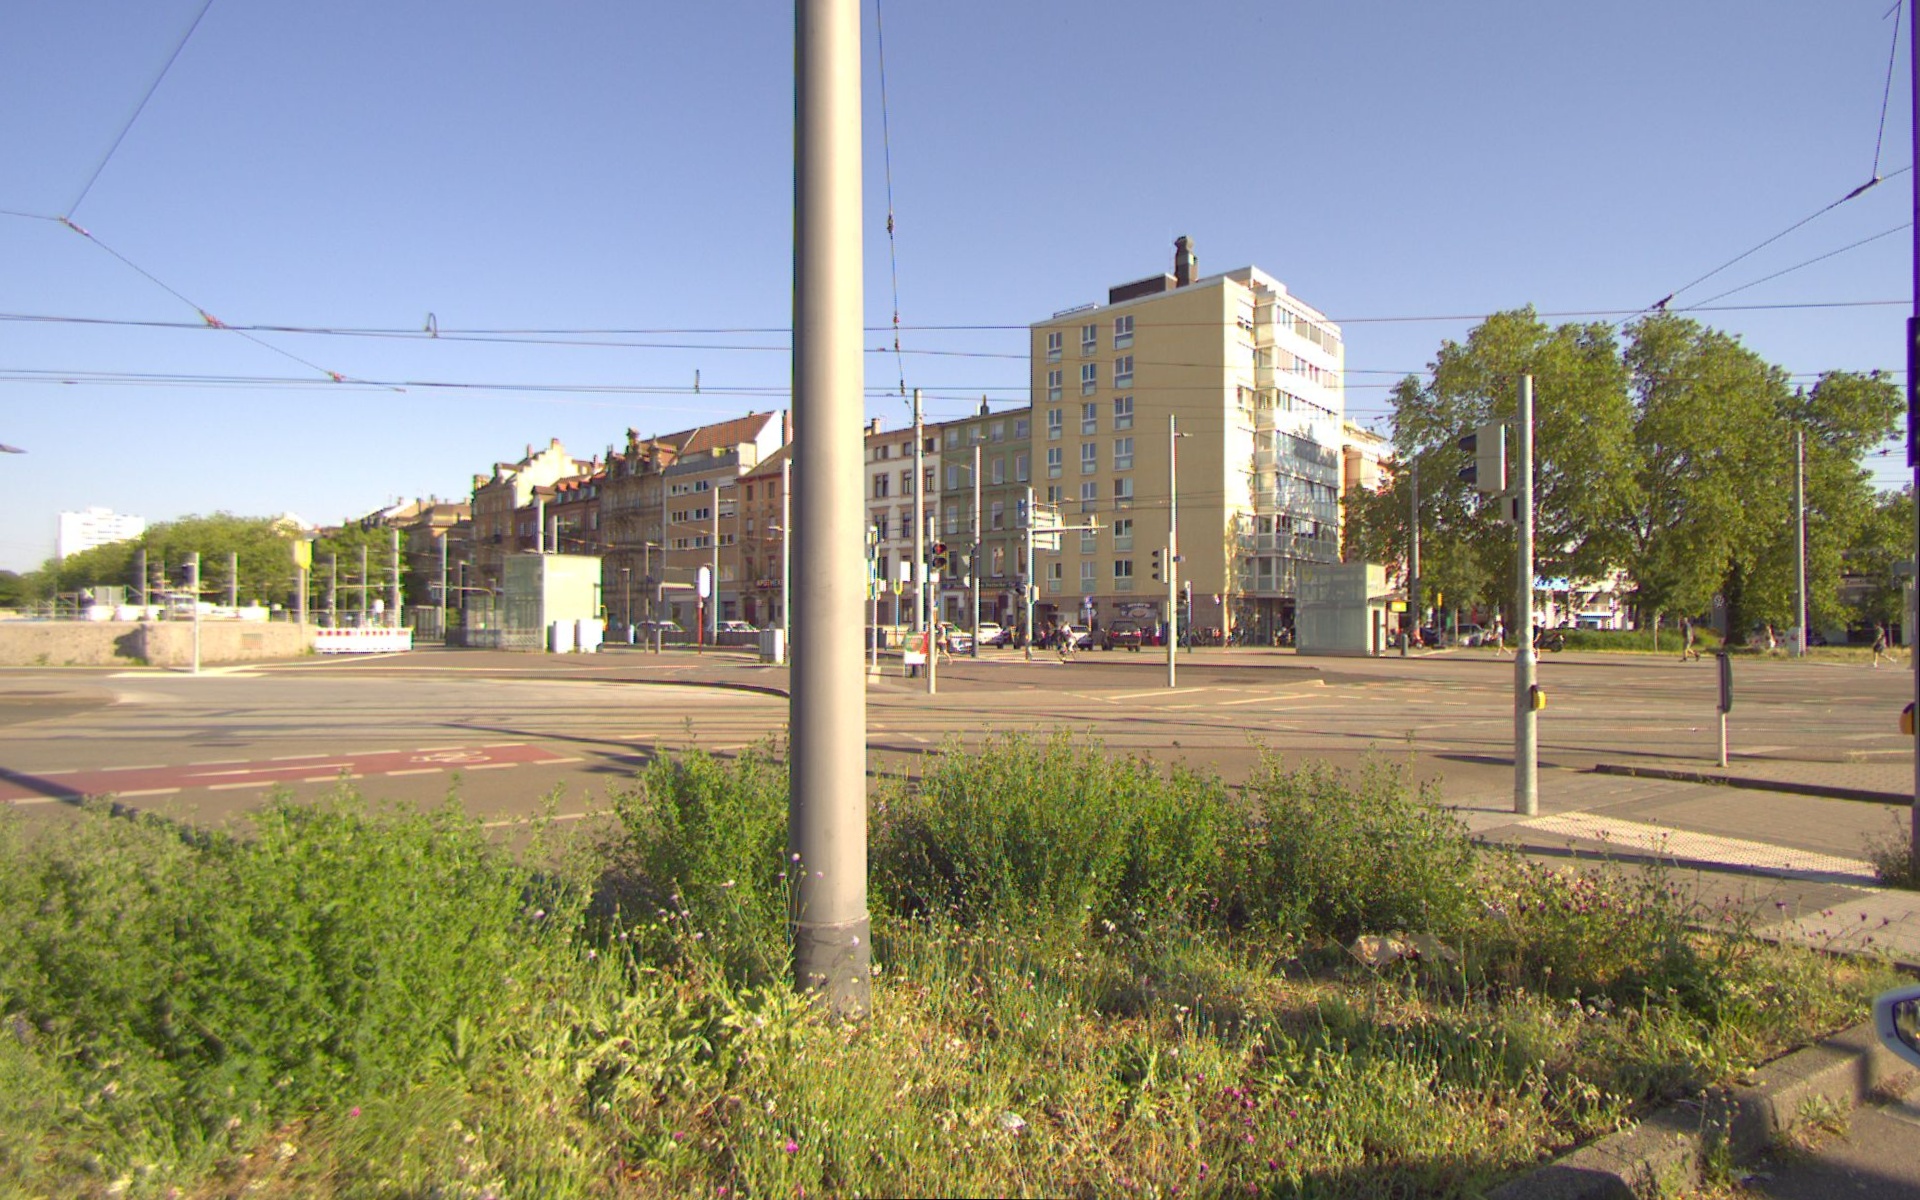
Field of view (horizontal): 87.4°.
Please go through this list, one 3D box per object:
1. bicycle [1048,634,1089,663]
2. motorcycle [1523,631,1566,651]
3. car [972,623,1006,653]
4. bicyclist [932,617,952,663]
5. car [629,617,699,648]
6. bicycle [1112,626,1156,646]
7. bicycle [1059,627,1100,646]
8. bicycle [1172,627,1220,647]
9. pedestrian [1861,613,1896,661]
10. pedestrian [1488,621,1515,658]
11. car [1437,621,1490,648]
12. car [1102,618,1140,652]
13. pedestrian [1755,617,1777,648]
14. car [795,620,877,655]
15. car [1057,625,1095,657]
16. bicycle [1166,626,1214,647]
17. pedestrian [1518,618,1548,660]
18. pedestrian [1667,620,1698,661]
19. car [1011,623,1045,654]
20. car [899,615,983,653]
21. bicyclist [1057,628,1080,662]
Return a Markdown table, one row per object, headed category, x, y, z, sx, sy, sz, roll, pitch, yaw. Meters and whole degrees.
| category | x | y | z | sx | sy | sz | roll | pitch | yaw |
| --- | --- | --- | --- | --- | --- | --- | --- | --- | --- |
| bicycle | 4.400 | 1.959 | 40.677 | 0.617 | 1.104 | 1.914 | 2 | 0 | 44 |
| motorcycle | 29.154 | 2.054 | 50.117 | 1.753 | 0.926 | 0.676 | 2 | 0 | 41 |
| car | 1.872 | 2.382 | 63.914 | 1.960 | 1.728 | 4.001 | 2 | 0 | 4 |
| bicyclist | -0.697 | 1.536 | 38.720 | 0.653 | 1.706 | 0.980 | 2 | 0 | 2 |
| car | -19.270 | 2.090 | 65.270 | 4.837 | 1.849 | 1.990 | 2 | 0 | 41 |
| bicycle | 11.441 | 2.355 | 66.109 | 3.003 | 1.167 | 0.637 | 1 | 0 | 44 |
| bicycle | 8.216 | 2.499 | 69.170 | 3.003 | 1.167 | 0.637 | 1 | 0 | 44 |
| bicycle | 14.940 | 2.346 | 63.691 | 3.003 | 1.167 | 0.637 | 1 | 0 | 44 |
| pedestrian | 37.342 | 1.501 | 40.850 | 0.747 | 1.911 | 0.793 | 2 | 0 | -22 |
| pedestrian | 25.780 | 1.887 | 47.815 | 0.747 | 1.728 | 0.793 | 2 | 0 | -22 |
| car | 32.019 | 2.198 | 63.817 | 3.973 | 1.588 | 1.753 | 2 | 0 | -44 |
| car | 9.166 | 1.970 | 57.449 | 1.684 | 1.728 | 4.001 | 2 | 0 | 4 |
| pedestrian | 46.825 | 1.889 | 58.390 | 0.491 | 1.716 | 0.852 | 2 | 0 | -32 |
| car | -6.689 | 1.986 | 53.916 | 4.652 | 1.684 | 1.777 | 2 | 0 | 42 |
| car | 6.805 | 2.393 | 59.279 | 1.960 | 1.728 | 4.001 | 2 | 0 | 4 |
| bicycle | 14.453 | 2.267 | 63.230 | 3.003 | 1.167 | 0.637 | 1 | 0 | 44 |
| pedestrian | 24.234 | 1.645 | 42.497 | 0.747 | 1.728 | 0.793 | 2 | 0 | -22 |
| pedestrian | 31.287 | 1.738 | 43.523 | 0.747 | 1.728 | 0.793 | 2 | 0 | -22 |
| car | 4.172 | 2.307 | 61.540 | 1.960 | 1.728 | 4.001 | 2 | 0 | 4 |
| car | -0.953 | 1.629 | 48.825 | 3.942 | 1.684 | 1.777 | 2 | 0 | 42 |
| bicyclist | 4.413 | 1.814 | 40.694 | 0.617 | 1.368 | 0.658 | 2 | 0 | 44 |
